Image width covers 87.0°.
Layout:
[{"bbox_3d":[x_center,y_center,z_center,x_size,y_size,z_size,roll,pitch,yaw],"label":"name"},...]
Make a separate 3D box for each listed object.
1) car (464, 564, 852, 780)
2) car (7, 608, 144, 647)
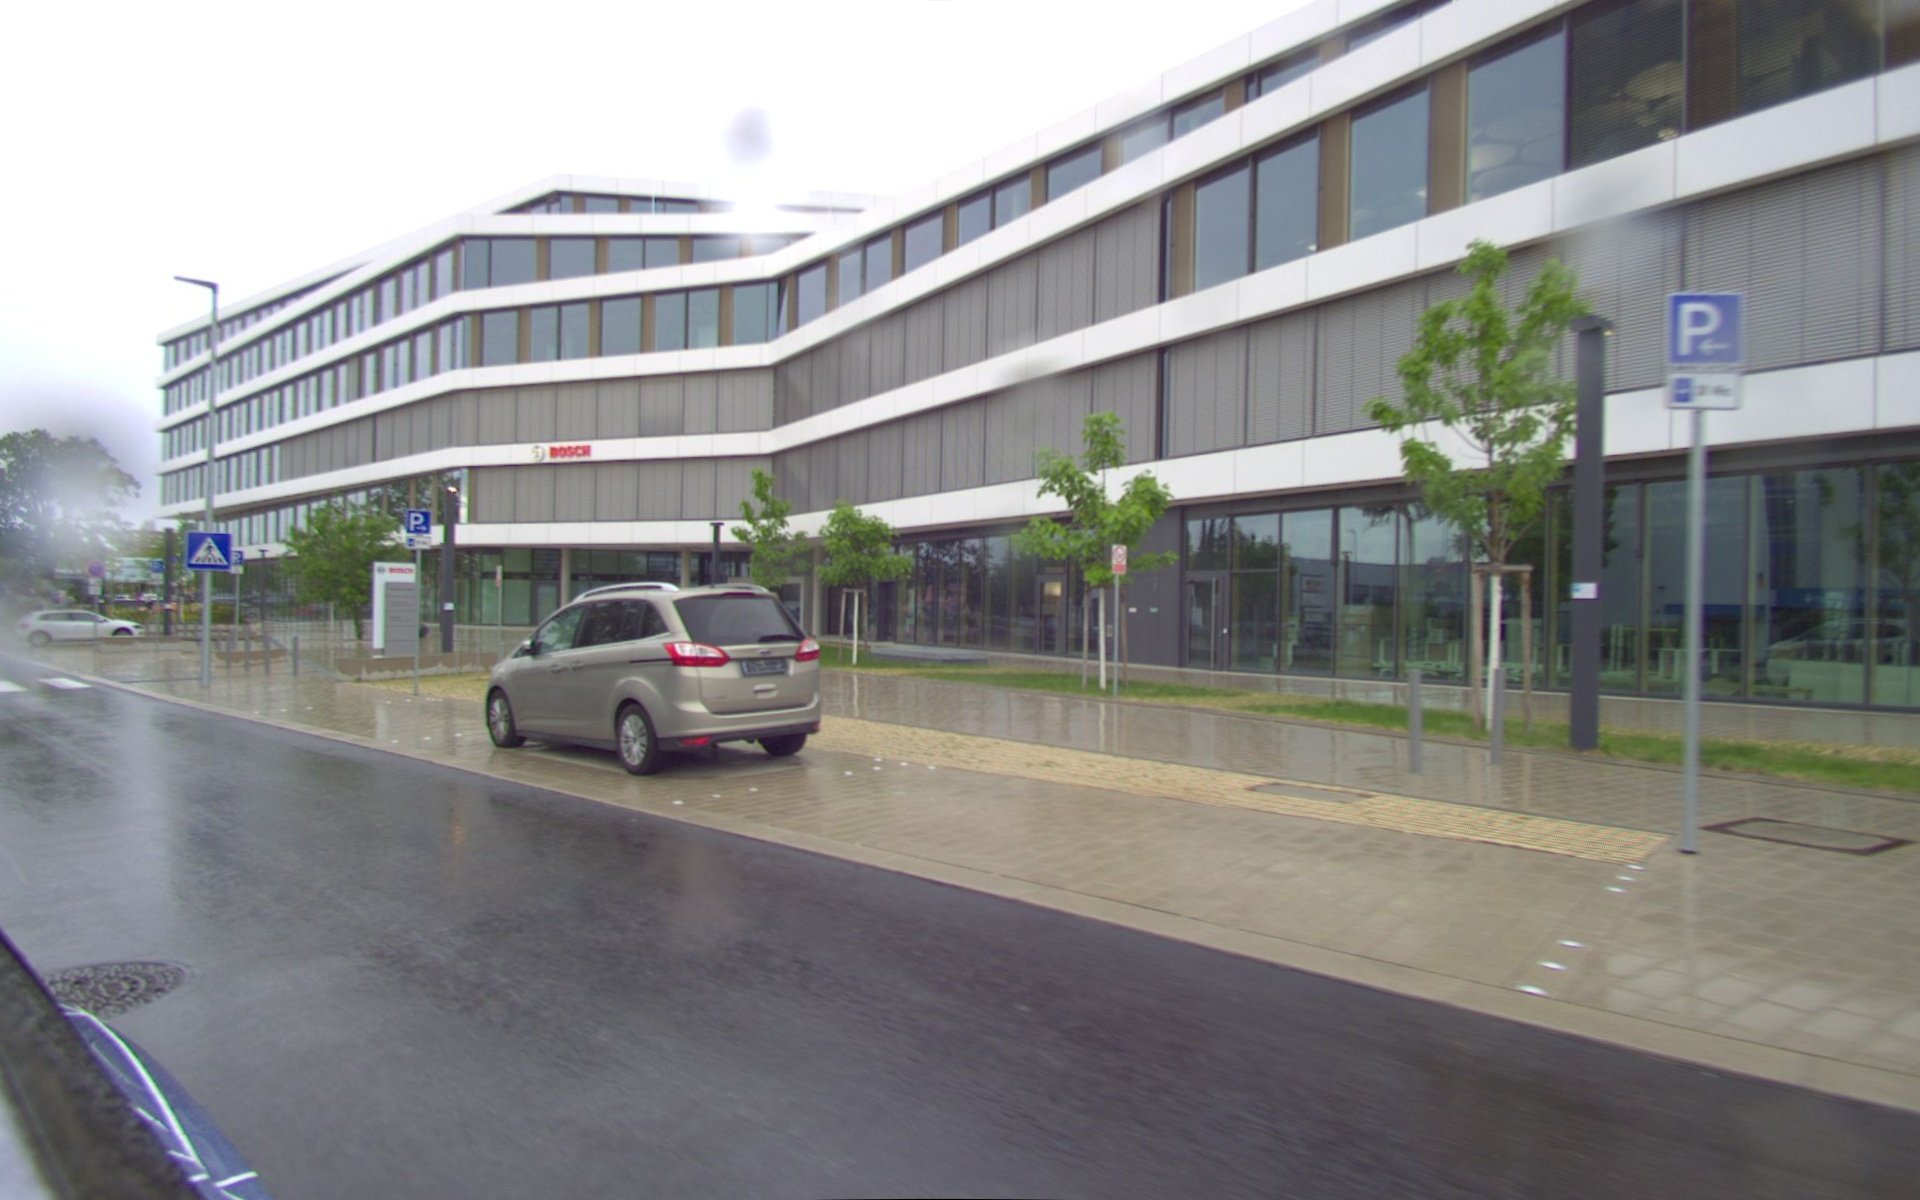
[{"bbox_3d":[-3.204,0.602,10.236,4.323,1.719,1.817,-1,-1,43],"label":"car"},{"bbox_3d":[-36.265,1.090,41.537,4.109,1.430,2.001,-2,1,-45],"label":"car"}]
